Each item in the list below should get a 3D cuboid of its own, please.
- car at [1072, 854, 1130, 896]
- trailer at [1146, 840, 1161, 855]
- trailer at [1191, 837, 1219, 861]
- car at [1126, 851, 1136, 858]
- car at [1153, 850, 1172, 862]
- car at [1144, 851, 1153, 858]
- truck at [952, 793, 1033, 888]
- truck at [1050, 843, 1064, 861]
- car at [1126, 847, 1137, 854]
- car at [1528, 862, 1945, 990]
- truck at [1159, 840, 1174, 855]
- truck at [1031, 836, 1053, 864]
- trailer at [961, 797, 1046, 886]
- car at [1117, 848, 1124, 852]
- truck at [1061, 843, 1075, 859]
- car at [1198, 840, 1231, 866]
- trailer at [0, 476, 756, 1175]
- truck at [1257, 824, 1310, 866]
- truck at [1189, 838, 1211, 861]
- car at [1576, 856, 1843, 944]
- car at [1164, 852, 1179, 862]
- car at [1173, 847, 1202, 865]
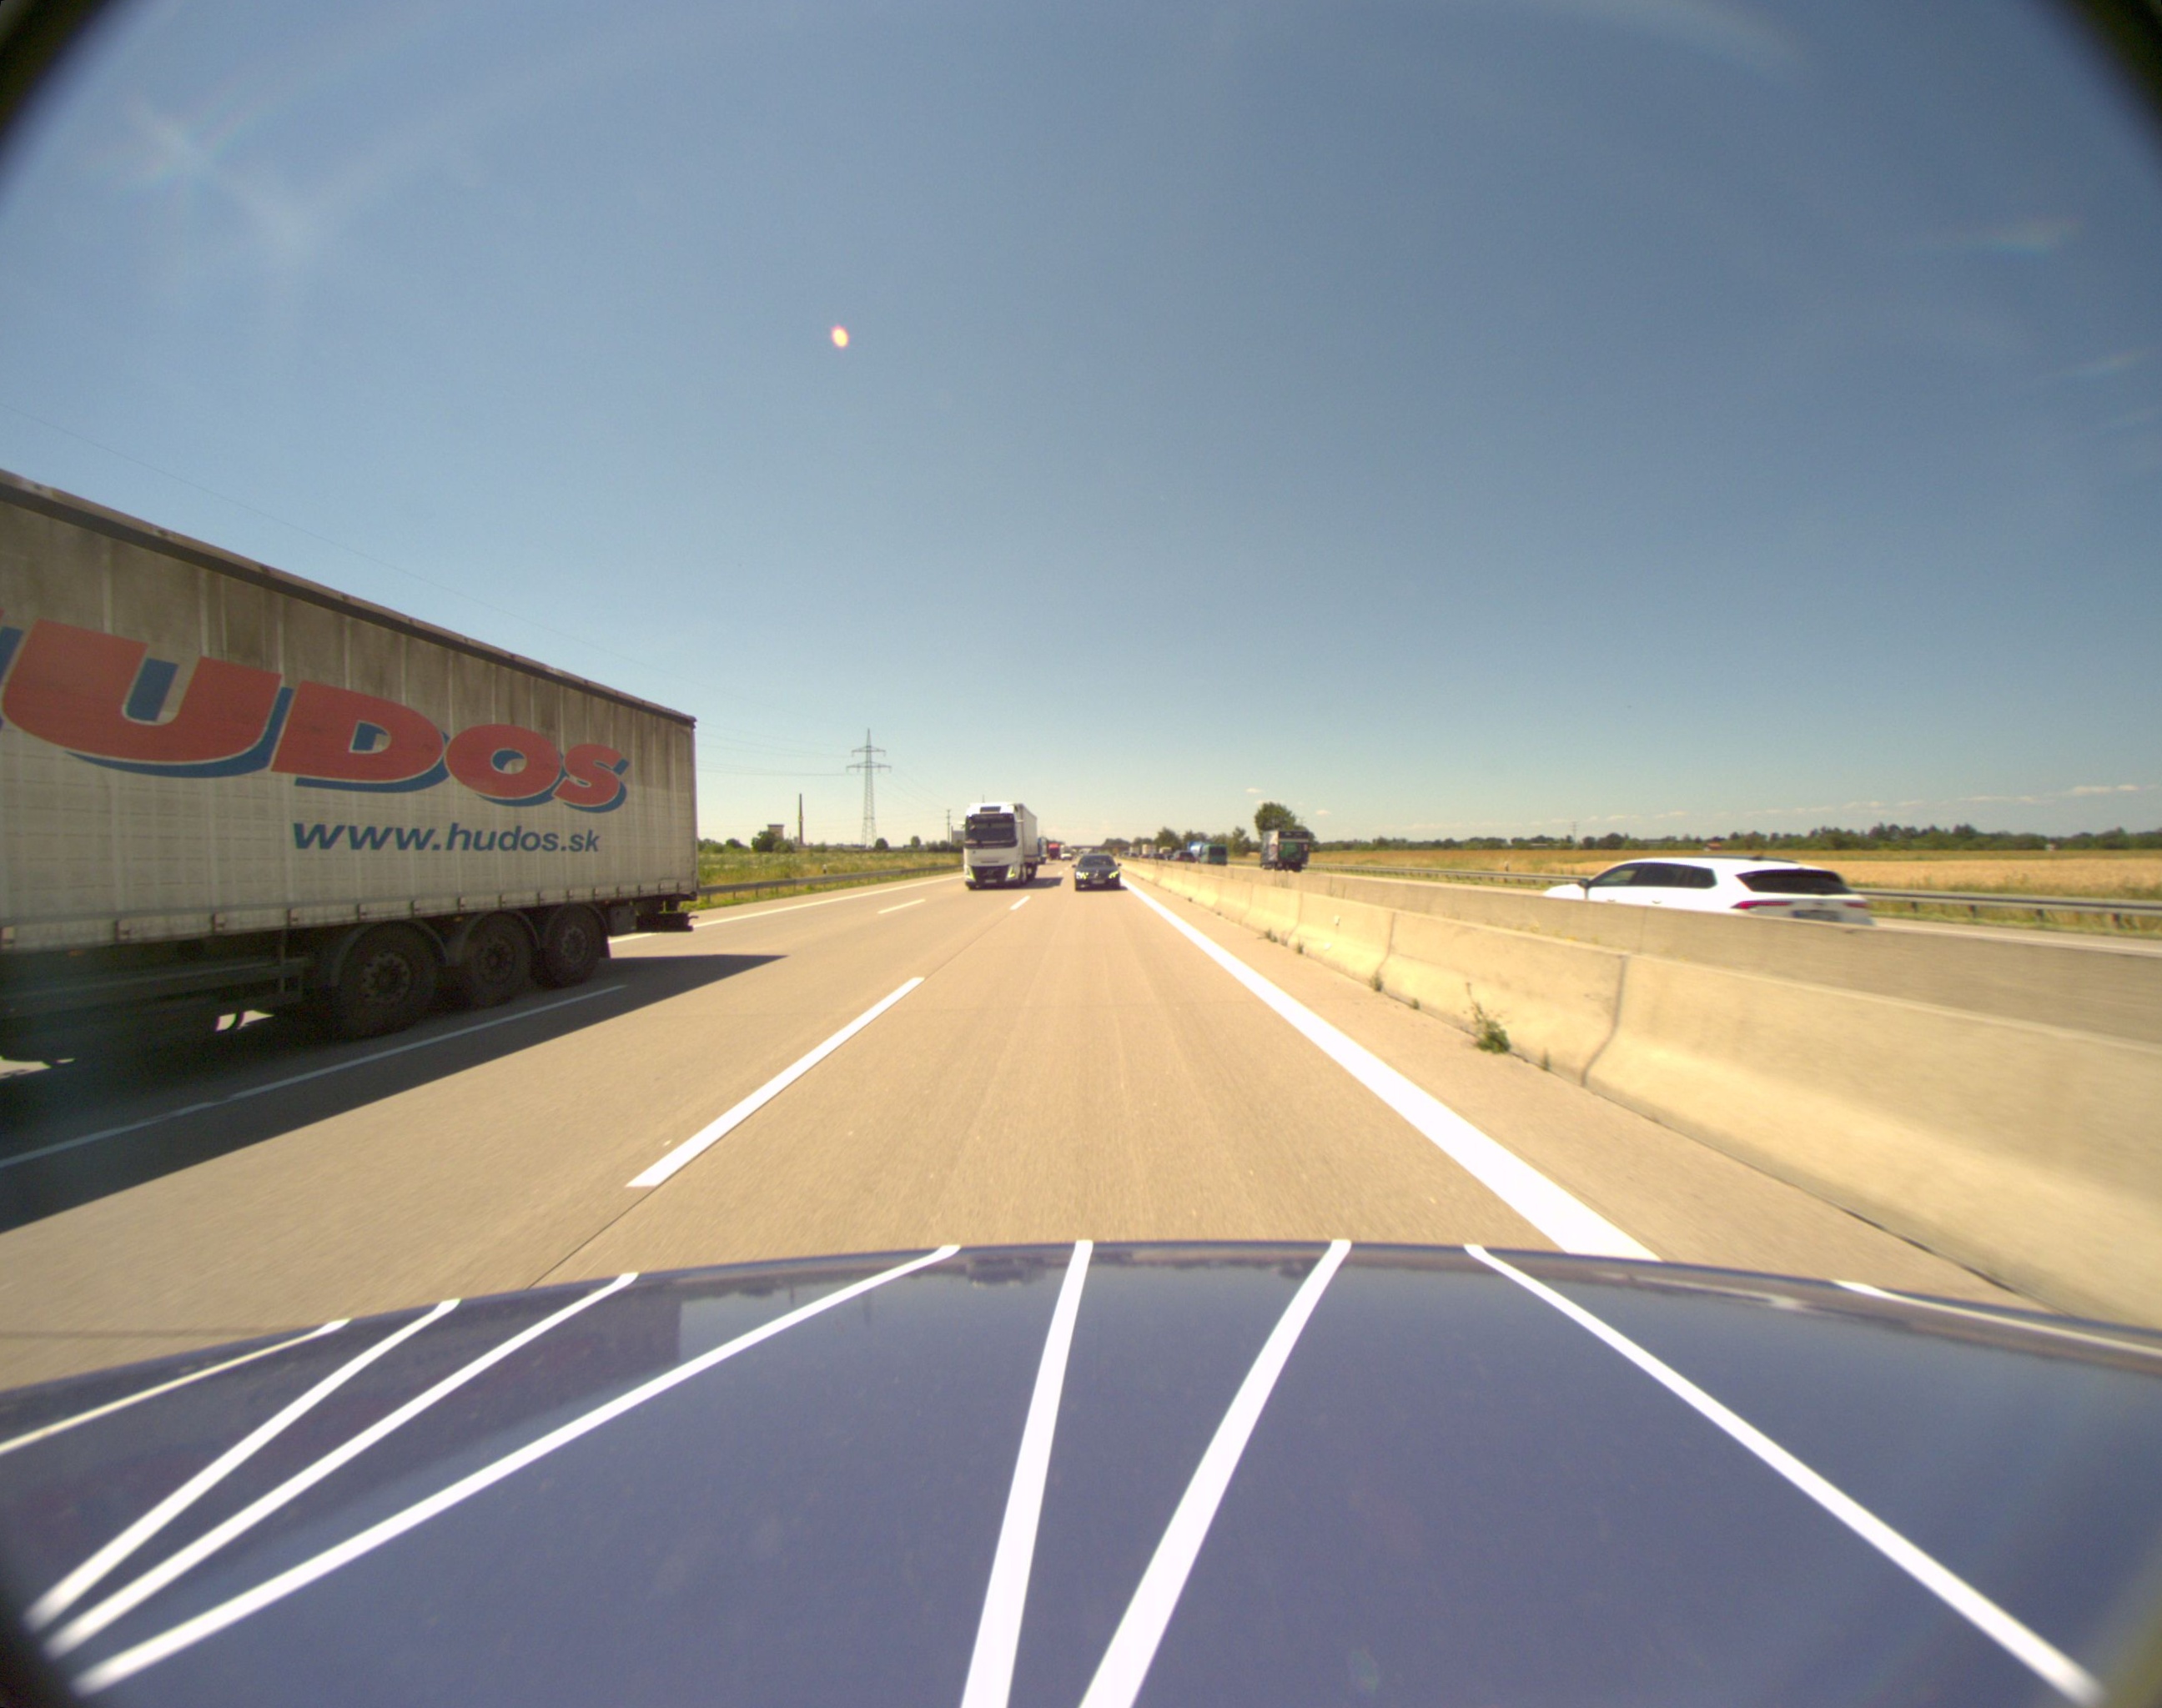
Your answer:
[{"bbox_3d":[0.719,0.732,29.415,1.998,1.462,6.347,0,0,1],"label":"car"},{"bbox_3d":[19.500,-1.711,206.059,2.916,3.886,12.510,-2,0,1],"label":"trailer"},{"bbox_3d":[18.204,-0.689,112.326,2.521,3.253,9.252,-2,0,0],"label":"trailer"},{"bbox_3d":[12.257,-0.008,187.719,2.144,1.669,5.644,-1,0,0],"label":"car"},{"bbox_3d":[10.759,0.292,100.782,1.945,1.549,4.888,-1,0,0],"label":"car"},{"bbox_3d":[15.244,0.032,171.902,1.692,1.451,4.487,2,0,0],"label":"car"},{"bbox_3d":[-4.055,-0.601,36.070,2.992,4.039,5.477,-2,0,1],"label":"truck"},{"bbox_3d":[-6.106,-0.559,192.816,2.855,4.297,10.886,-2,0,1],"label":"truck"},{"bbox_3d":[9.955,-0.711,149.707,1.784,1.340,4.452,-3,0,-1],"label":"car"},{"bbox_3d":[8.831,0.848,10.989,1.998,1.356,4.670,1,0,0],"label":"car"},{"bbox_3d":[18.612,-1.325,165.466,2.328,3.066,6.977,-2,0,0],"label":"truck"},{"bbox_3d":[-5.798,-0.559,113.381,2.757,4.020,5.466,-2,0,1],"label":"truck"},{"bbox_3d":[-3.985,-0.621,42.743,3.025,4.037,14.206,-2,0,1],"label":"trailer"},{"bbox_3d":[13.256,-1.437,254.404,1.903,1.318,5.069,-2,0,0],"label":"car"},{"bbox_3d":[-2.780,-0.682,164.885,2.784,3.328,7.812,-2,0,0],"label":"truck"},{"bbox_3d":[13.489,-0.126,77.161,2.154,2.536,6.463,1,1,0],"label":"car"},{"bbox_3d":[-7.726,-0.148,7.695,2.881,4.077,13.511,-2,0,0],"label":"trailer"},{"bbox_3d":[17.587,-0.770,66.443,2.561,3.492,7.884,0,0,0],"label":"truck"},{"bbox_3d":[18.192,-0.674,116.552,2.490,3.290,5.263,-2,0,0],"label":"truck"},{"bbox_3d":[13.159,0.870,16.380,1.998,1.551,4.512,2,0,0],"label":"car"},{"bbox_3d":[14.086,0.517,118.670,1.724,1.440,4.707,-2,0,0],"label":"car"},{"bbox_3d":[10.036,0.179,71.933,1.998,1.567,4.848,-2,0,0],"label":"car"}]
